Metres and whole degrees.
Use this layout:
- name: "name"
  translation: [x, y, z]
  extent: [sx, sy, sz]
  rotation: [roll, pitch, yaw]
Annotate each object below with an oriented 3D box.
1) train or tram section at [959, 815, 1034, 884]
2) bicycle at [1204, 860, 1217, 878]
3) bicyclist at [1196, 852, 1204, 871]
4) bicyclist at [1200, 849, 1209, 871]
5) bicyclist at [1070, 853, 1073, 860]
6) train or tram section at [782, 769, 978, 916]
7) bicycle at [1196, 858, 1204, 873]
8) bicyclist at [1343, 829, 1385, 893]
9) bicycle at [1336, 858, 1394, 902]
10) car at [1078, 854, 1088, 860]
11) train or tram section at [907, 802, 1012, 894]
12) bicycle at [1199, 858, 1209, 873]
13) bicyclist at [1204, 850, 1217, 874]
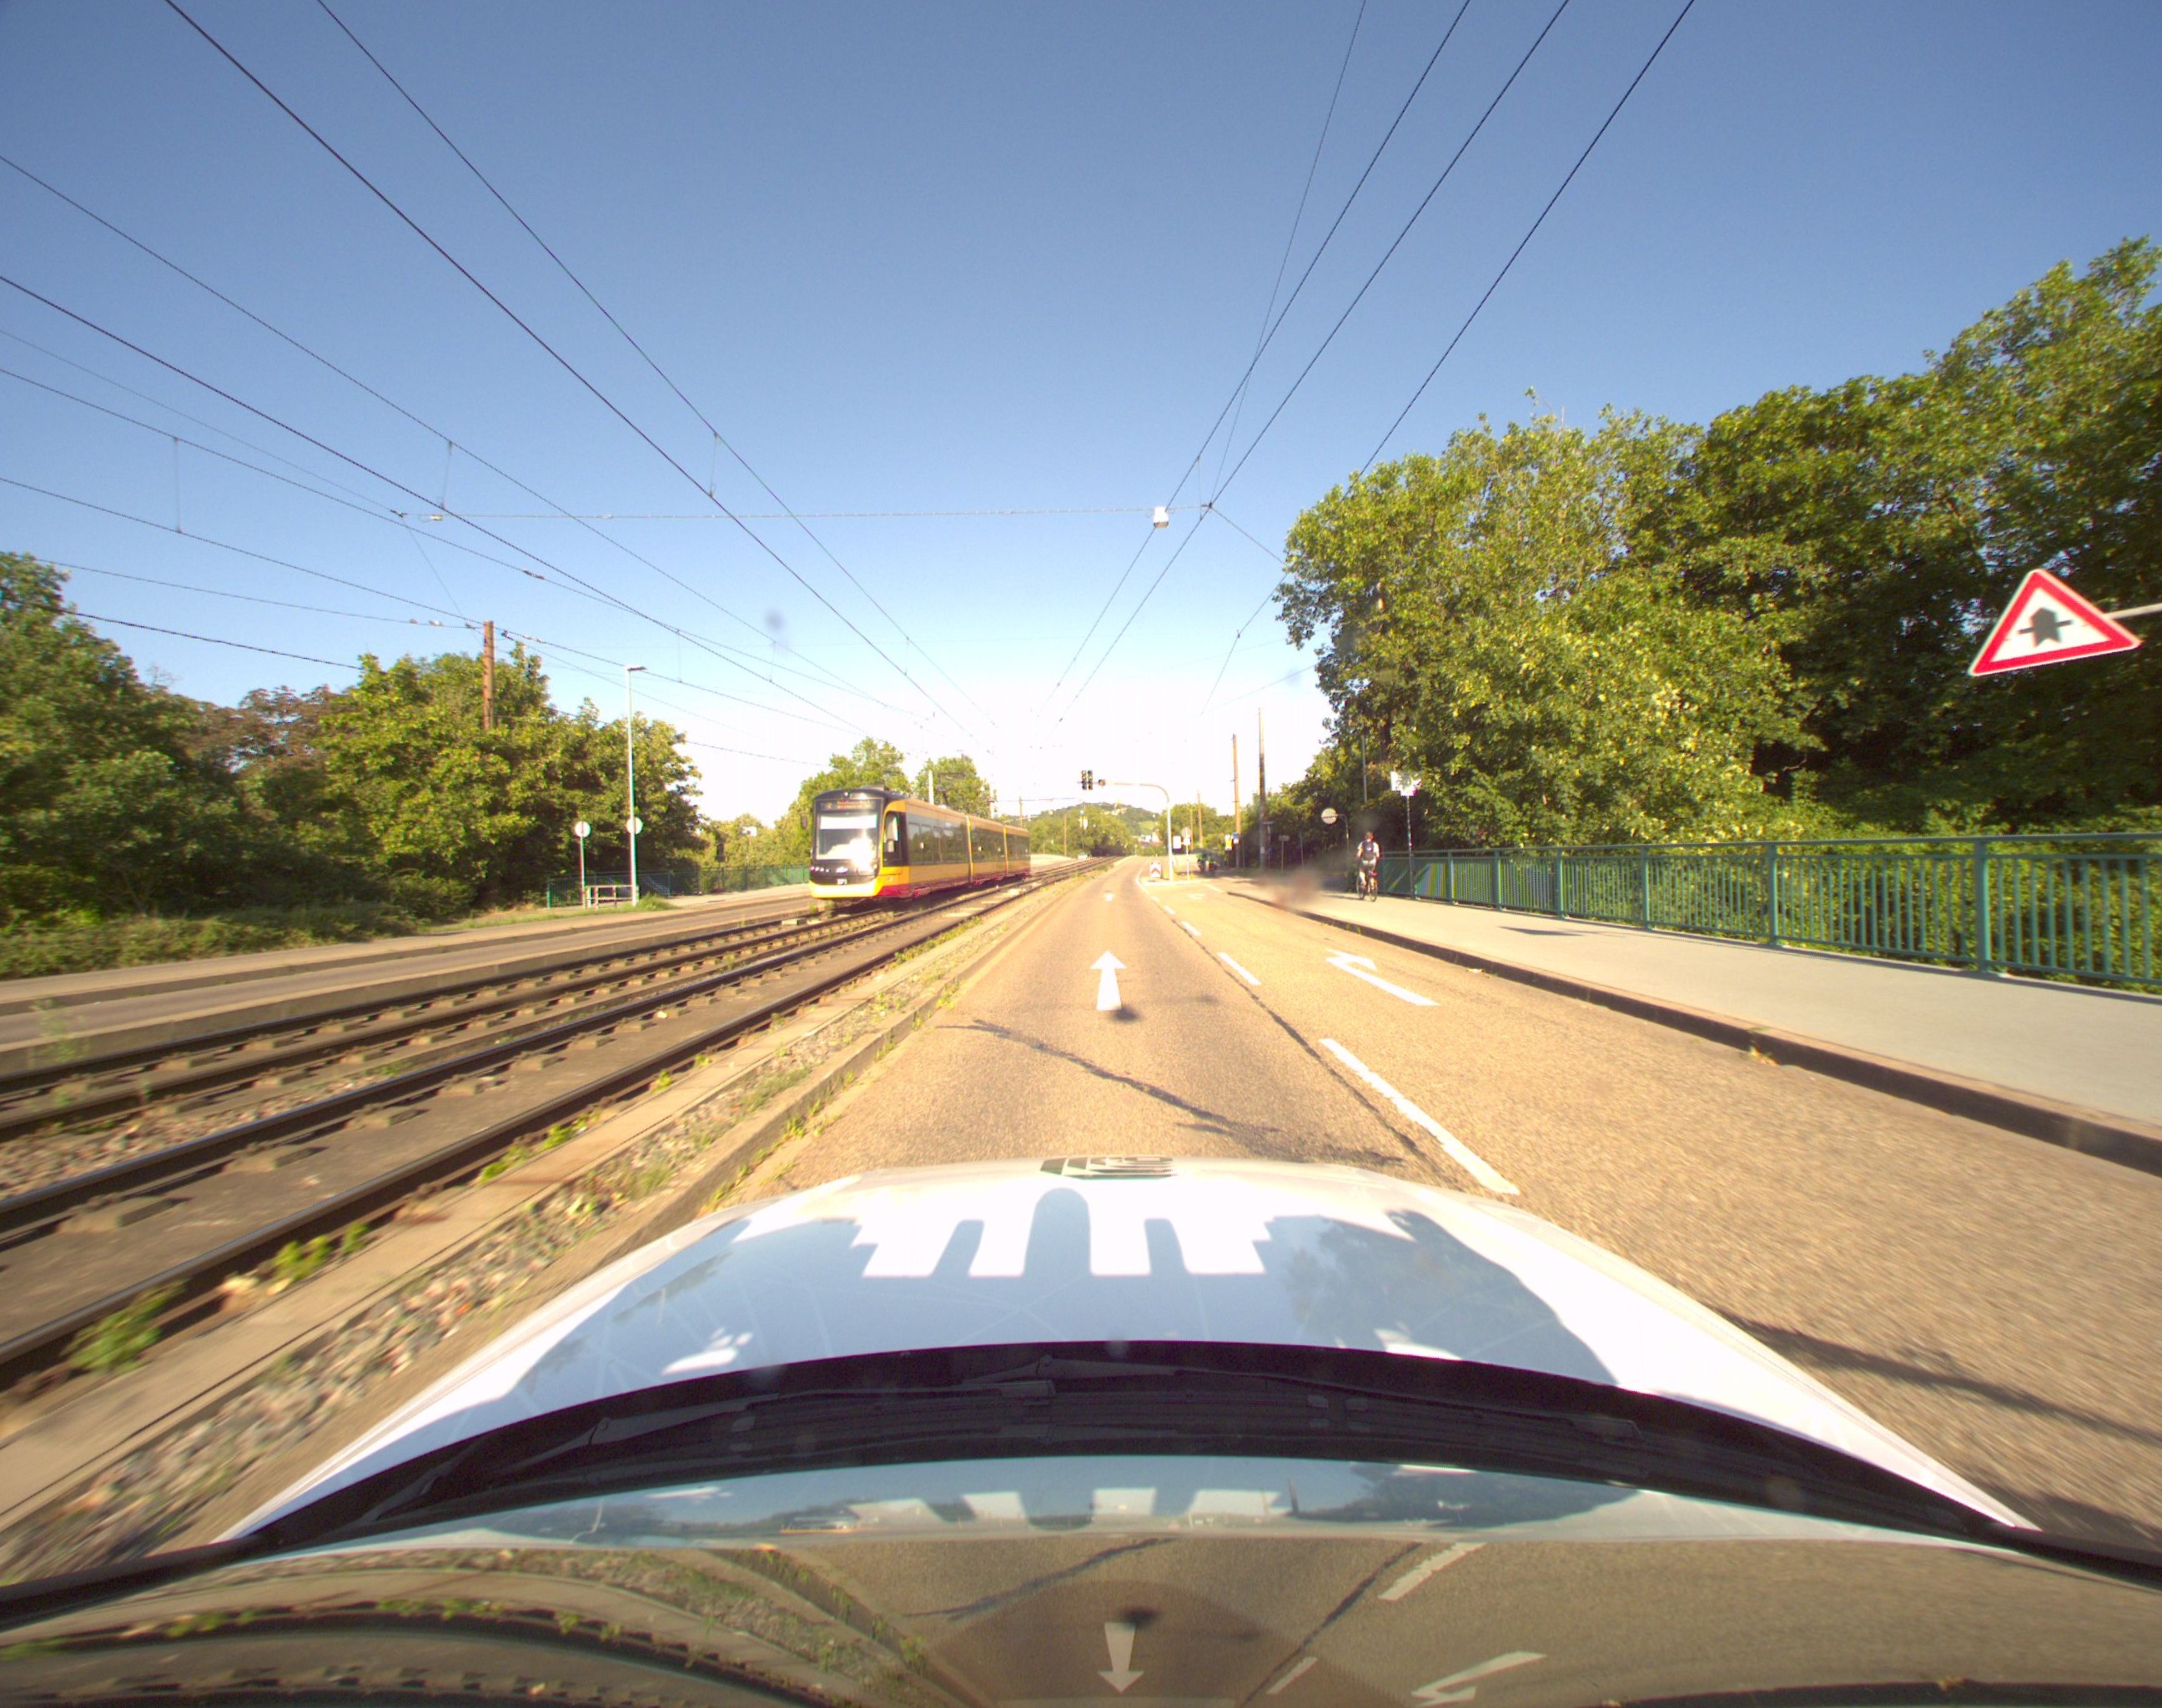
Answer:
- name: "train or tram section"
  translation: [-5.196, -0.270, 53.054]
  extent: [2.966, 3.901, 12.708]
  rotation: [-2, 0, 2]
- name: "bicycle"
  translation: [8.862, 1.016, 55.756]
  extent: [0.680, 1.122, 2.220]
  rotation: [-1, 1, 6]
- name: "bicyclist"
  translation: [9.361, 0.568, 64.121]
  extent: [0.621, 1.508, 1.008]
  rotation: [-1, 0, 8]
- name: "bicyclist"
  translation: [9.289, 0.461, 61.174]
  extent: [0.622, 1.592, 0.932]
  rotation: [-1, 0, 6]
- name: "bicyclist"
  translation: [-2.116, 0.571, 184.653]
  extent: [0.622, 1.432, 0.970]
  rotation: [-1, 0, 7]
- name: "train or tram section"
  translation: [-6.262, -0.301, 28.513]
  extent: [2.992, 3.901, 13.088]
  rotation: [-2, 0, 2]
- name: "bicycle"
  translation: [9.363, 0.900, 64.121]
  extent: [0.621, 1.122, 2.265]
  rotation: [-1, 0, 8]
- name: "bicyclist"
  translation: [7.820, 0.187, 22.547]
  extent: [0.728, 1.689, 1.202]
  rotation: [-1, 0, 1]
- name: "bicycle"
  translation: [7.819, 0.695, 22.563]
  extent: [0.728, 1.122, 2.743]
  rotation: [-1, 0, 2]
- name: "car"
  translation: [0.496, 0.601, 178.395]
  extent: [1.675, 1.356, 4.928]
  rotation: [-1, 0, 6]
- name: "train or tram section"
  translation: [-5.728, -0.247, 40.895]
  extent: [2.965, 3.901, 11.671]
  rotation: [-2, 0, 2]
- name: "bicycle"
  translation: [9.257, 0.838, 61.148]
  extent: [0.622, 1.122, 2.045]
  rotation: [-1, 0, 6]
- name: "bicyclist"
  translation: [8.840, 0.541, 55.732]
  extent: [0.808, 1.562, 0.898]
  rotation: [-1, 1, 5]
